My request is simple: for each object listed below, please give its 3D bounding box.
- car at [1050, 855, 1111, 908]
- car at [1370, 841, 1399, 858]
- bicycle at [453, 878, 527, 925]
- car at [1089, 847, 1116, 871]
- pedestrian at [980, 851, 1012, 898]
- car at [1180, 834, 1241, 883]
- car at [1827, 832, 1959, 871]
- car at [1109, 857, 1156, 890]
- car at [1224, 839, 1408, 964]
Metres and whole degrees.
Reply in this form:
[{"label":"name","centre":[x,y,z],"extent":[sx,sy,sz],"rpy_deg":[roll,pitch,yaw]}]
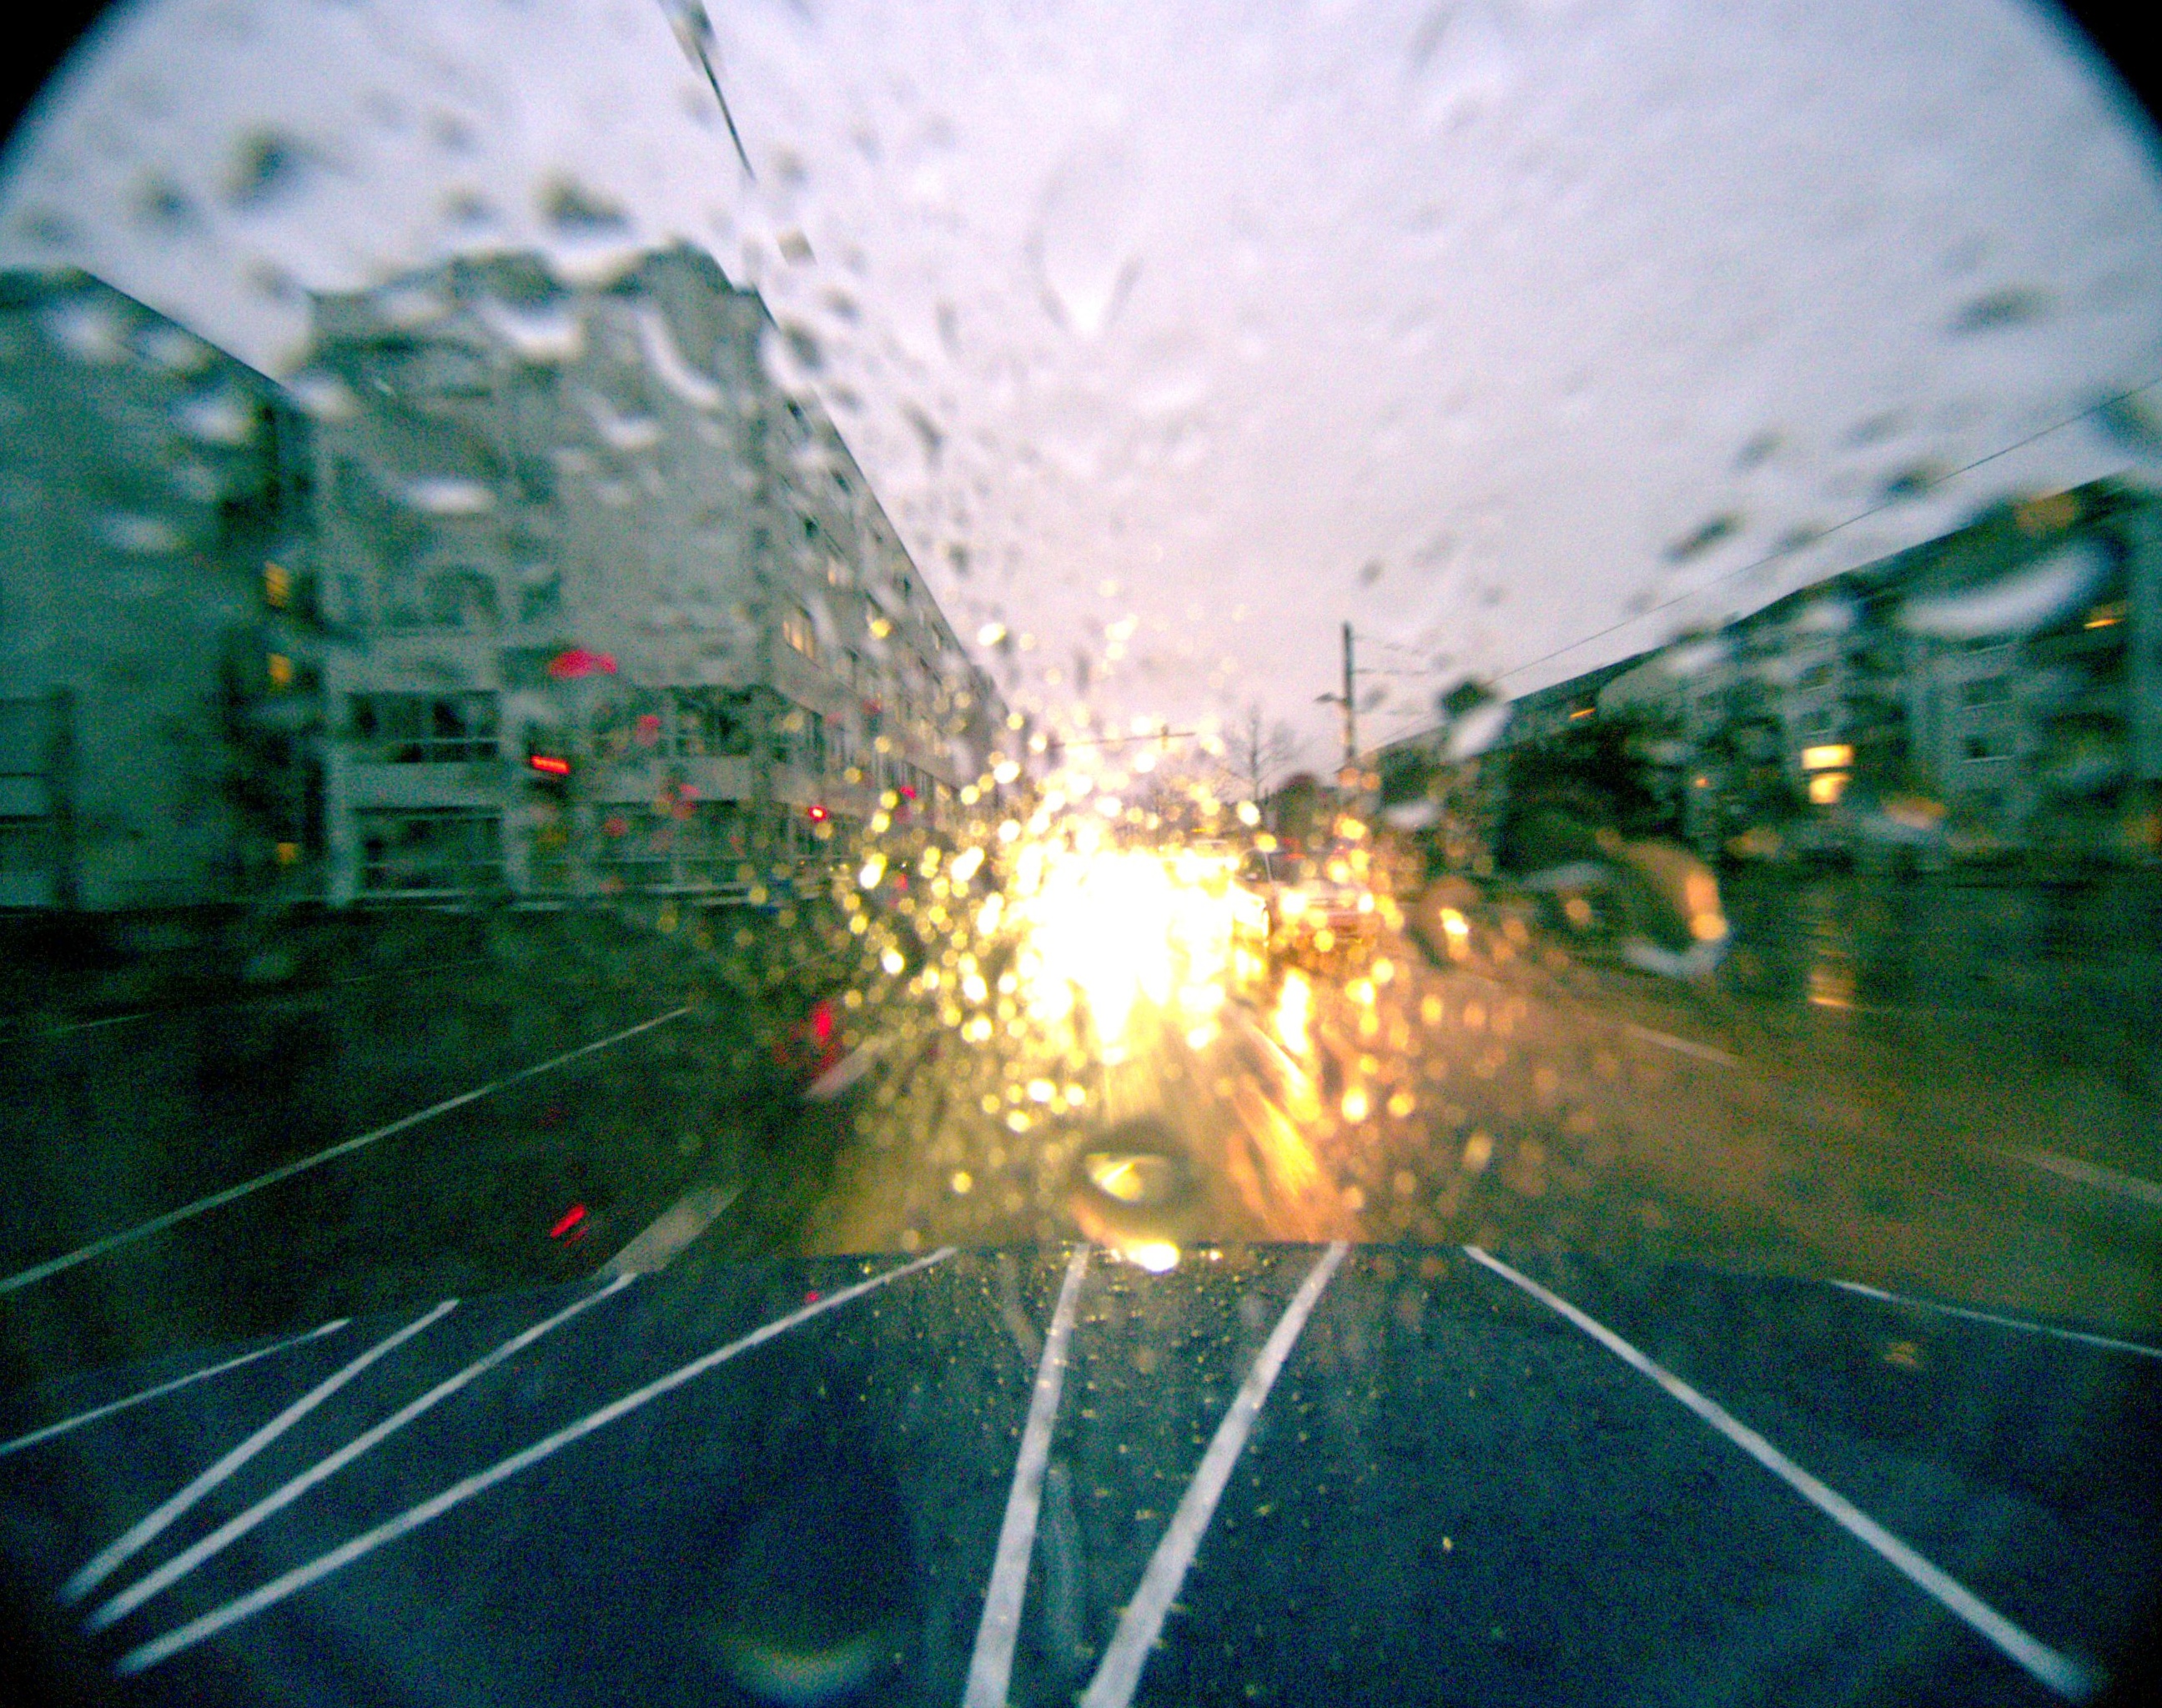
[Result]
[{"label":"car","centre":[0.044,0.829,24.527],"extent":[1.757,1.418,3.804],"rpy_deg":[-2,1,1]},{"label":"car","centre":[33.279,-0.513,83.413],"extent":[1.729,1.636,4.150],"rpy_deg":[-3,2,2]},{"label":"bicycle","centre":[-15.576,1.238,20.096],"extent":[0.471,1.098,1.875],"rpy_deg":[-1,1,0]},{"label":"car","centre":[1.476,0.343,54.209],"extent":[1.764,1.520,3.733],"rpy_deg":[-3,2,0]},{"label":"pedestrian","centre":[-3.217,0.769,28.905],"extent":[0.796,1.740,0.863],"rpy_deg":[3,1,27]},{"label":"car","centre":[5.859,0.170,34.896],"extent":[1.957,2.022,4.882],"rpy_deg":[-2,1,1]},{"label":"car","centre":[33.270,-0.117,31.173],"extent":[3.809,1.359,1.697],"rpy_deg":[-3,2,-5]},{"label":"car","centre":[2.606,0.949,39.162],"extent":[1.975,1.492,4.090],"rpy_deg":[-3,0,-1]},{"label":"car","centre":[3.734,0.650,12.861],"extent":[2.020,1.668,4.000],"rpy_deg":[-3,2,3]}]
